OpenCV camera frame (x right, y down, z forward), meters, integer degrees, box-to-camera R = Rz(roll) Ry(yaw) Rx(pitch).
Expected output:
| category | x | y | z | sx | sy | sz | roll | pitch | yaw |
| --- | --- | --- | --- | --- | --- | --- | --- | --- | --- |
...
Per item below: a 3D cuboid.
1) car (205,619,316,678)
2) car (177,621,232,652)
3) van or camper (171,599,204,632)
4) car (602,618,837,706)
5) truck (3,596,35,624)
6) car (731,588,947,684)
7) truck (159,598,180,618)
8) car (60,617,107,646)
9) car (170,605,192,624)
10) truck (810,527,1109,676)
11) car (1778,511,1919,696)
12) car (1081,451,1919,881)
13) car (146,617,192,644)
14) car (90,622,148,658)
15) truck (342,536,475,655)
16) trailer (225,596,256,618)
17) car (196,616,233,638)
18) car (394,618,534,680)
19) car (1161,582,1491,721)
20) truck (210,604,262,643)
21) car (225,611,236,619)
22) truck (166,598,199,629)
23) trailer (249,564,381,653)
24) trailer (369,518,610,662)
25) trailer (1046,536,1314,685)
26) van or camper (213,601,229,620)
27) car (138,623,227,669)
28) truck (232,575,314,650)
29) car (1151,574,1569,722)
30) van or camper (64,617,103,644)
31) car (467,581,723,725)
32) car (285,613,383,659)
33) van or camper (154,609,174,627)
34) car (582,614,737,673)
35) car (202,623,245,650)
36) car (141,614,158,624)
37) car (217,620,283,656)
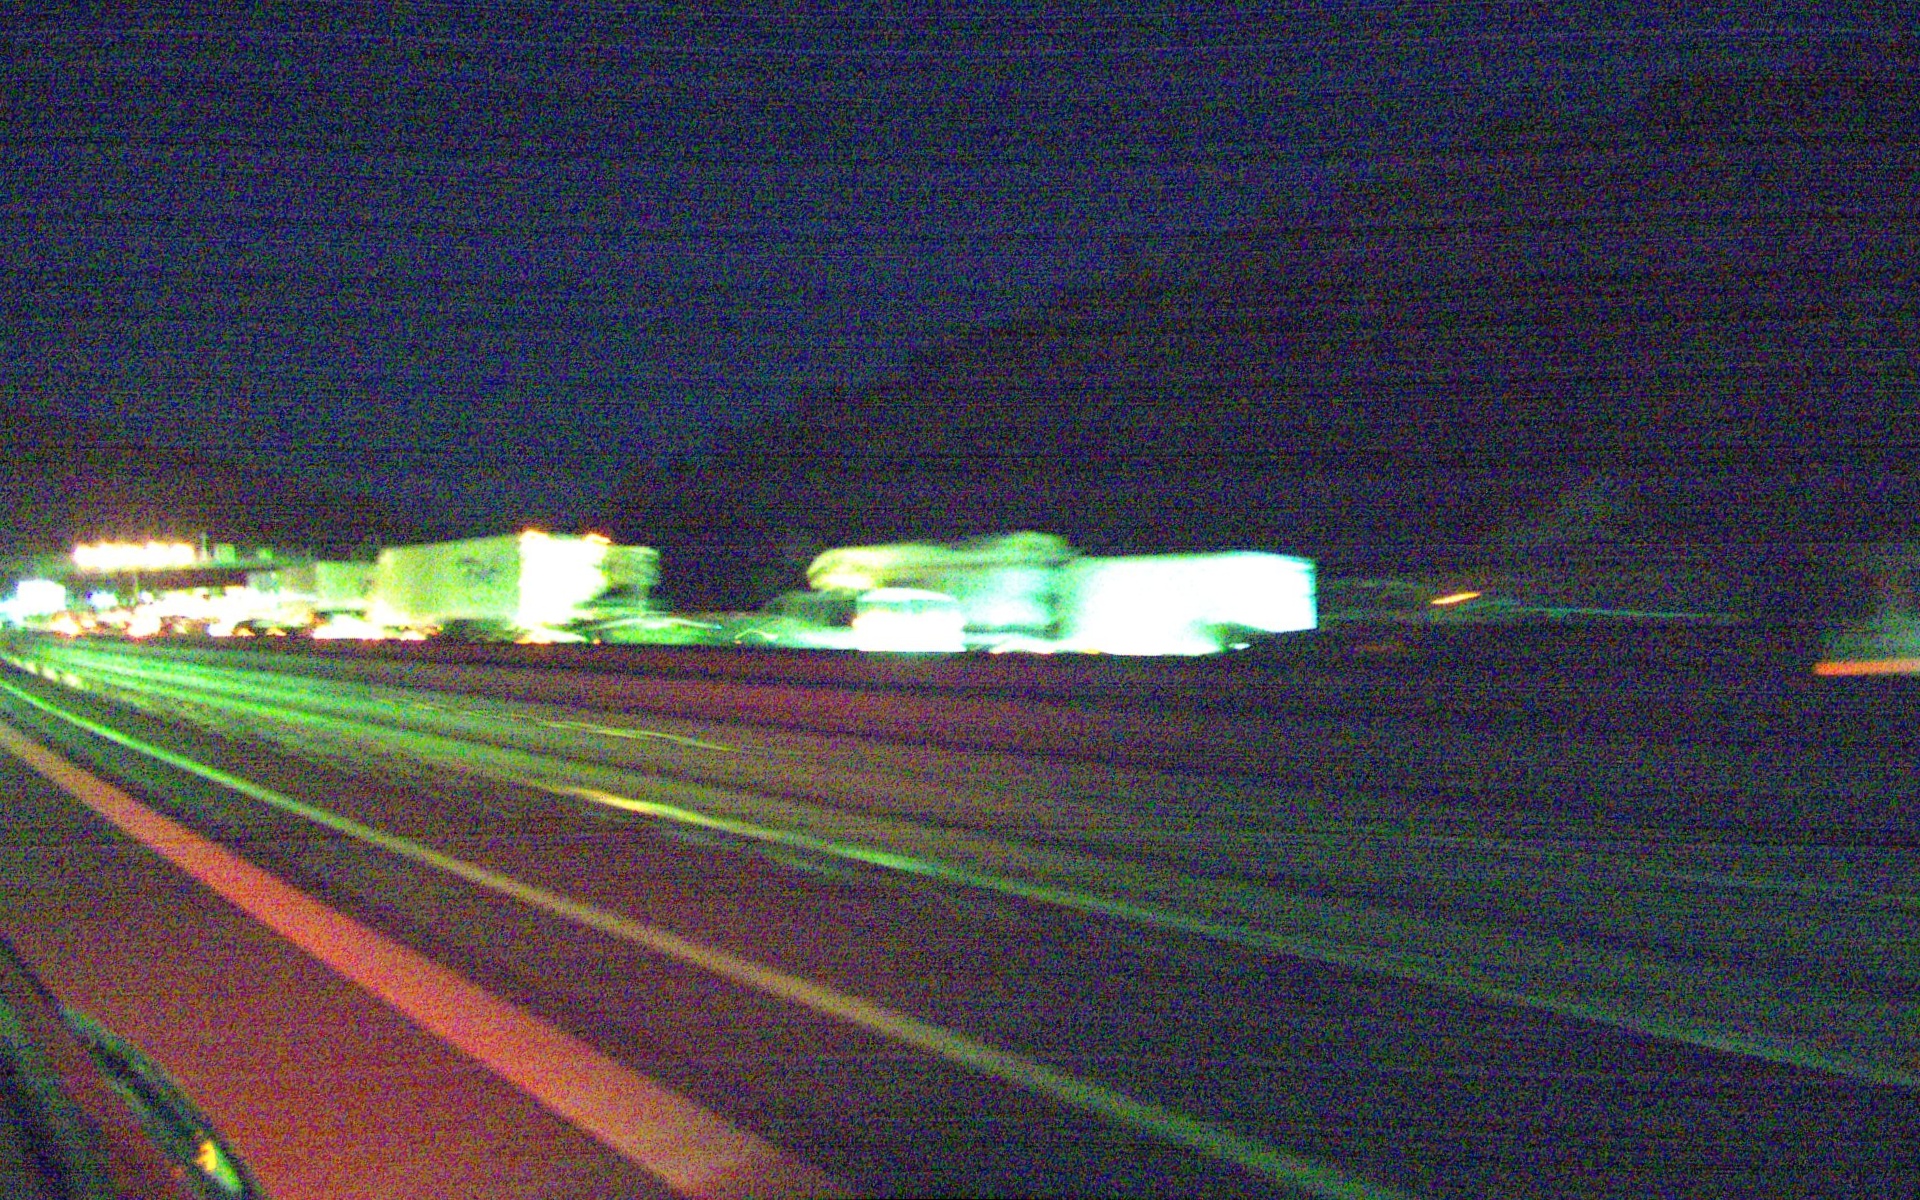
| category | x | y | z | sx | sy | sz | roll | pitch | yaw |
| --- | --- | --- | --- | --- | --- | --- | --- | --- | --- |
| car | -19.894 | 1.322 | 28.699 | 4.868 | 1.503 | 1.608 | -2 | -1 | 43 |
| car | -39.845 | 1.863 | 53.324 | 1.880 | 1.503 | 4.874 | 0 | 0 | -42 |
| van or camper | -74.301 | 1.517 | 97.324 | 2.194 | 3.026 | 7.136 | 0 | -1 | -40 |
| car | -4.803 | 1.119 | 19.861 | 4.860 | 1.503 | 1.886 | -1 | 0 | 38 |
| truck | -136.375 | 1.395 | 146.685 | 2.855 | 4.001 | 4.010 | -2 | 1 | -36 |
| car | -2.789 | 0.761 | 22.518 | 5.017 | 1.901 | 1.884 | -1 | -1 | 40 |
| truck | -151.784 | 1.555 | 194.427 | 2.619 | 3.618 | 8.572 | -2 | 2 | -35 |
| car | -48.391 | 1.695 | 55.857 | 1.881 | 1.503 | 4.874 | 0 | 0 | -42 |
| car | -99.036 | 1.816 | 128.638 | 2.103 | 2.285 | 4.573 | 1 | -1 | -38 |
| truck | -0.269 | 0.115 | 25.562 | 7.910 | 3.243 | 2.468 | -2 | -1 | 41 |
| car | 13.875 | 0.032 | 13.497 | 4.507 | 2.418 | 1.974 | -1 | -1 | 38 |
| car | 3.635 | 0.362 | 6.416 | 5.601 | 1.937 | 1.856 | -3 | -2 | 41 |
| car | -47.128 | 1.807 | 60.261 | 1.880 | 1.503 | 4.943 | 0 | 0 | -42 |
| car | -38.380 | 1.769 | 46.142 | 1.880 | 1.503 | 4.874 | 0 | 0 | -42 |
| truck | -22.710 | -0.083 | 41.576 | 5.957 | 4.301 | 2.588 | -1 | -9 | 43 |
| trailer | -153.153 | 1.415 | 215.515 | 3.387 | 4.273 | 12.874 | 1 | 0 | -27 |
| car | -61.905 | 2.239 | 83.994 | 1.904 | 1.666 | 4.741 | 0 | 1 | -43 |
| car | -13.742 | 1.282 | 27.896 | 4.868 | 1.503 | 1.883 | -1 | 0 | 43 |
| car | 5.477 | 0.721 | 15.489 | 4.318 | 1.824 | 1.972 | -2 | -1 | 42 |
| truck | -48.443 | 1.551 | 67.691 | 5.051 | 2.477 | 1.971 | -1 | -1 | 44 |
| car | -146.332 | 3.070 | 203.016 | 1.578 | 1.453 | 4.012 | 0 | 1 | -31 |
| truck | -86.746 | 1.457 | 112.808 | 2.346 | 3.285 | 7.734 | 1 | -1 | -41 |
| trailer | -34.520 | 0.555 | 53.725 | 14.529 | 4.216 | 2.843 | -2 | -1 | 45 |
| trailer | -17.869 | -0.174 | 37.436 | 14.523 | 4.498 | 2.808 | -1 | -2 | 43 |
| trailer | 4.514 | 0.248 | 21.284 | 4.990 | 2.765 | 2.338 | -2 | -1 | 41 |
| van or camper | -138.265 | 1.869 | 189.307 | 2.238 | 3.404 | 5.710 | 0 | 0 | -34 |
| car | -28.243 | 1.612 | 36.703 | 4.869 | 1.503 | 1.882 | -1 | 0 | 44 |
| truck | -40.798 | 0.757 | 60.036 | 6.108 | 4.242 | 2.833 | -1 | -1 | 44 |
| car | 4.294 | 0.483 | 11.181 | 3.995 | 1.360 | 1.613 | -1 | -1 | 38 |
| van or camper | -56.768 | 1.952 | 65.495 | 1.718 | 1.476 | 4.874 | -7 | 4 | -41 |
| car | -5.903 | 0.760 | 15.990 | 4.869 | 1.937 | 1.855 | -2 | -1 | 44 |
| car | -22.282 | 1.219 | 35.926 | 4.870 | 1.503 | 1.882 | -1 | 0 | 45 |
| van or camper | -120.224 | 2.753 | 152.916 | 2.225 | 2.614 | 6.701 | 1 | -1 | -37 |
| car | -8.463 | 1.174 | 28.304 | 4.866 | 1.503 | 1.884 | -1 | -1 | 42 |
| car | -51.945 | 2.543 | 71.324 | 4.769 | 1.713 | 1.690 | 1 | 0 | 45 |
| car | -135.073 | 3.170 | 168.608 | 1.809 | 1.462 | 4.517 | 0 | -1 | -34 |
| car | -32.748 | 1.688 | 46.628 | 1.880 | 1.503 | 5.266 | 0 | 0 | -42 |
